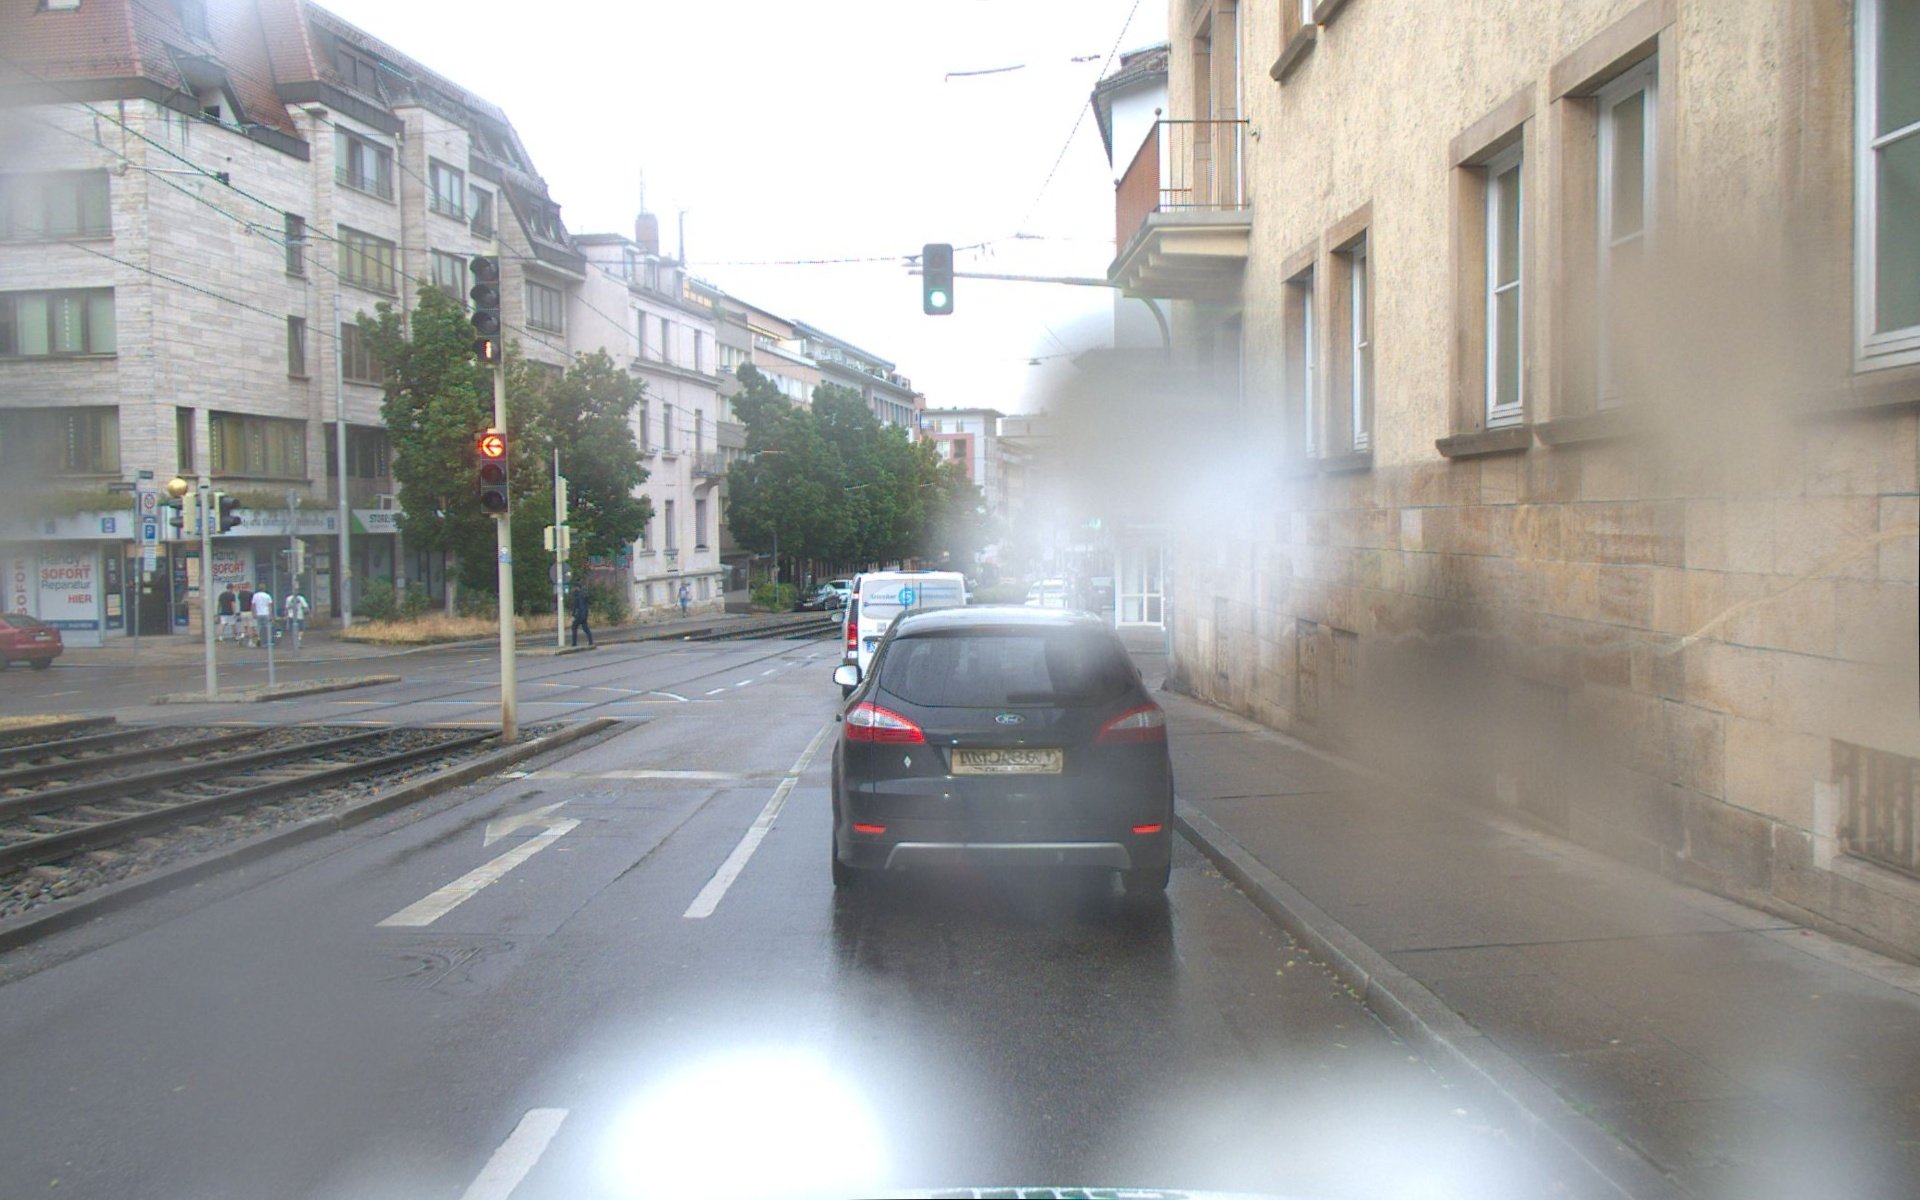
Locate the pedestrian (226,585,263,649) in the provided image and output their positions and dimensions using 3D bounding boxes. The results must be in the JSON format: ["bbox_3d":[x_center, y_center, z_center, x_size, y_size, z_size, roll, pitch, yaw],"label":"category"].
[{"bbox_3d":[-20.092,0.473,46.445,0.634,1.780,0.684,1,-1,7],"label":"pedestrian"}]

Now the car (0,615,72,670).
[{"bbox_3d":[-24.343,1.061,41.300,3.614,1.341,1.595,-1,-1,10],"label":"car"}]

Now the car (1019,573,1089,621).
[{"bbox_3d":[3.171,-0.100,54.965,1.763,1.481,4.590,-2,0,9],"label":"car"}]

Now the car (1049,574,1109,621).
[{"bbox_3d":[4.480,-0.085,61.772,1.806,1.661,4.590,-1,0,9],"label":"car"}]

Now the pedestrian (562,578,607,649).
[{"bbox_3d":[-10.022,0.351,44.144,0.911,1.862,0.959,1,-1,1],"label":"pedestrian"}]

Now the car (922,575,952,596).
[{"bbox_3d":[-1.779,-1.097,128.836,1.632,1.585,4.049,0,0,9],"label":"car"}]

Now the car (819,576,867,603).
[{"bbox_3d":[-6.938,-0.616,98.812,1.816,1.576,4.725,0,0,9],"label":"car"}]

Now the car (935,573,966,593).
[{"bbox_3d":[-0.765,-1.401,137.989,1.816,1.665,4.939,0,0,9],"label":"car"}]

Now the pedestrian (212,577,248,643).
[{"bbox_3d":[-20.913,0.291,47.411,0.634,1.875,0.684,1,-1,7],"label":"pedestrian"}]

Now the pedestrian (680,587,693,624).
[{"bbox_3d":[-12.538,0.232,75.761,0.458,1.681,0.582,1,-1,-3],"label":"pedestrian"}]

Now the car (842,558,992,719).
[{"bbox_3d":[-0.628,0.518,24.103,1.948,2.096,4.643,1,0,-2],"label":"car"}]

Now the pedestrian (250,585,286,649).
[{"bbox_3d":[-19.419,0.474,46.400,0.634,1.754,0.684,1,-1,7],"label":"pedestrian"}]

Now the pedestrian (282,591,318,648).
[{"bbox_3d":[-18.578,0.557,46.548,0.634,1.576,0.684,1,-1,7],"label":"pedestrian"}]

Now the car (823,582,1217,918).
[{"bbox_3d":[0.248,0.708,9.650,1.805,1.533,3.999,1,0,-1],"label":"car"}]

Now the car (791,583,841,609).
[{"bbox_3d":[-8.014,-0.221,92.404,1.657,1.402,4.724,0,-1,9],"label":"car"}]
